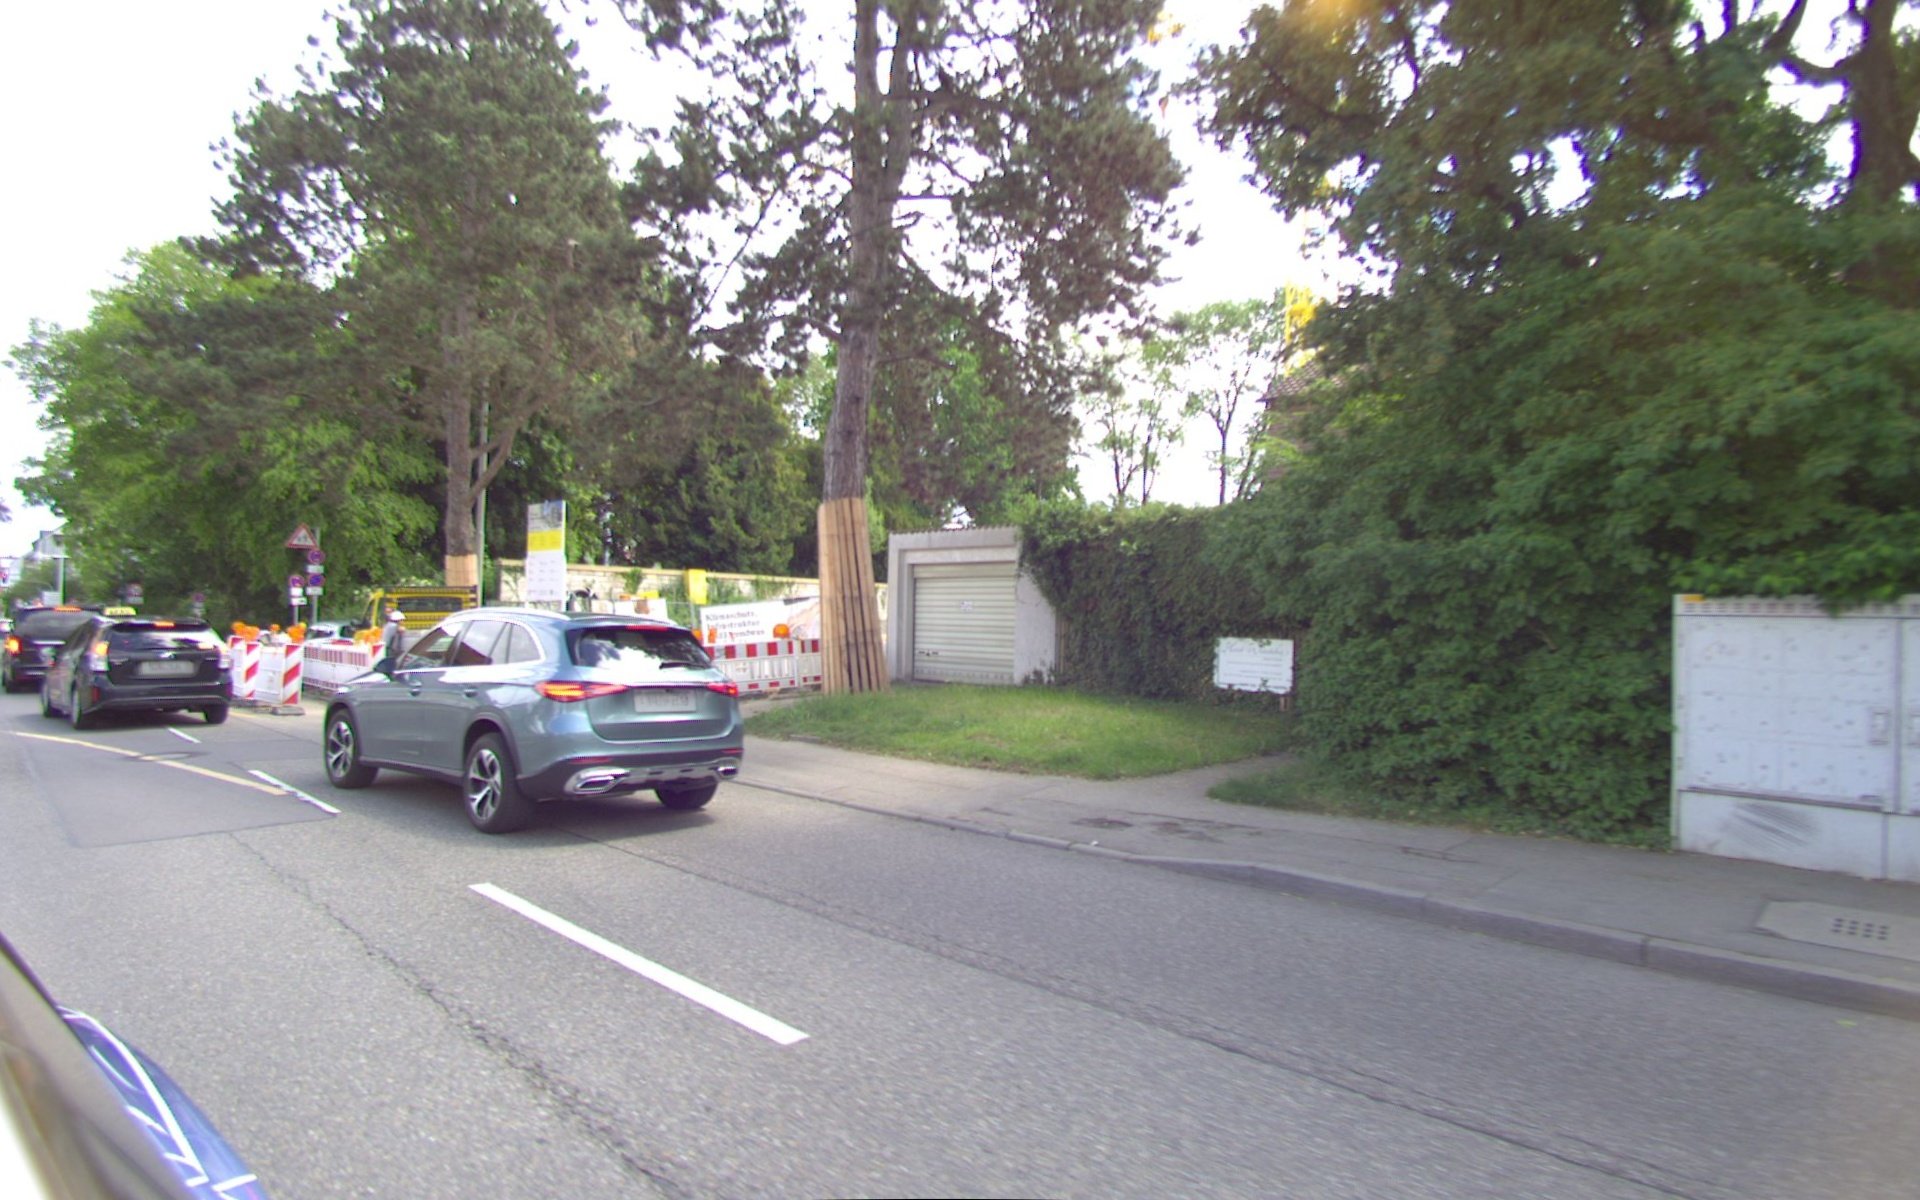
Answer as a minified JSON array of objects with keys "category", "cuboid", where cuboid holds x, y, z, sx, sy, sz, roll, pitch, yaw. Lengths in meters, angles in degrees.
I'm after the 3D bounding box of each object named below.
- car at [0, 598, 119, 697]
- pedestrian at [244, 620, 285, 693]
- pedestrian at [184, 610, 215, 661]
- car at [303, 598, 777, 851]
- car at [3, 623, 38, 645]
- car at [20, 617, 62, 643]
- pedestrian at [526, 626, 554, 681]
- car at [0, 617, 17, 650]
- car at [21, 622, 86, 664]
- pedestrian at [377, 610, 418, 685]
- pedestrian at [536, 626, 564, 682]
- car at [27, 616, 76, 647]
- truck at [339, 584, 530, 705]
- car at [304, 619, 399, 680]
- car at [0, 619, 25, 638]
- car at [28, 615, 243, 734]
[{"category":"car","cuboid":[-20.372,1.039,22.547,4.914,1.967,1.887,-2,-3,43]},{"category":"pedestrian","cuboid":[-15.705,1.269,22.856,0.563,1.613,0.537,0,0,-1]},{"category":"pedestrian","cuboid":[-28.653,1.314,38.123,0.823,1.861,1.023,0,-1,-42]},{"category":"car","cuboid":[-3.776,0.894,8.710,4.531,1.630,1.847,-2,-4,40]},{"category":"car","cuboid":[-74.831,2.693,80.613,4.164,1.603,1.737,0,-4,44]},{"category":"car","cuboid":[-61.195,2.005,67.359,4.164,1.603,1.737,0,-4,44]},{"category":"pedestrian","cuboid":[-10.941,1.386,26.390,0.566,1.396,0.539,0,0,-8]},{"category":"car","cuboid":[-56.361,1.929,58.973,4.225,1.820,1.938,0,0,45]},{"category":"car","cuboid":[-36.857,1.737,41.113,1.755,1.568,4.005,4,-3,-44]},{"category":"pedestrian","cuboid":[-11.987,0.989,21.560,0.654,1.559,0.568,0,-1,39]},{"category":"pedestrian","cuboid":[-10.437,1.373,25.771,0.566,1.396,0.539,0,0,-8]},{"category":"car","cuboid":[-51.411,1.776,57.246,4.005,1.603,1.737,0,-4,44]},{"category":"truck","cuboid":[-12.308,0.915,23.455,2.279,2.438,6.098,0,0,-44]},{"category":"car","cuboid":[-16.461,1.274,27.331,1.603,1.519,3.588,0,-1,-41]},{"category":"car","cuboid":[-86.730,2.633,92.476,4.164,1.603,1.596,0,-4,44]},{"category":"car","cuboid":[-12.600,1.032,15.360,4.527,1.539,1.845,-1,-3,42]}]
